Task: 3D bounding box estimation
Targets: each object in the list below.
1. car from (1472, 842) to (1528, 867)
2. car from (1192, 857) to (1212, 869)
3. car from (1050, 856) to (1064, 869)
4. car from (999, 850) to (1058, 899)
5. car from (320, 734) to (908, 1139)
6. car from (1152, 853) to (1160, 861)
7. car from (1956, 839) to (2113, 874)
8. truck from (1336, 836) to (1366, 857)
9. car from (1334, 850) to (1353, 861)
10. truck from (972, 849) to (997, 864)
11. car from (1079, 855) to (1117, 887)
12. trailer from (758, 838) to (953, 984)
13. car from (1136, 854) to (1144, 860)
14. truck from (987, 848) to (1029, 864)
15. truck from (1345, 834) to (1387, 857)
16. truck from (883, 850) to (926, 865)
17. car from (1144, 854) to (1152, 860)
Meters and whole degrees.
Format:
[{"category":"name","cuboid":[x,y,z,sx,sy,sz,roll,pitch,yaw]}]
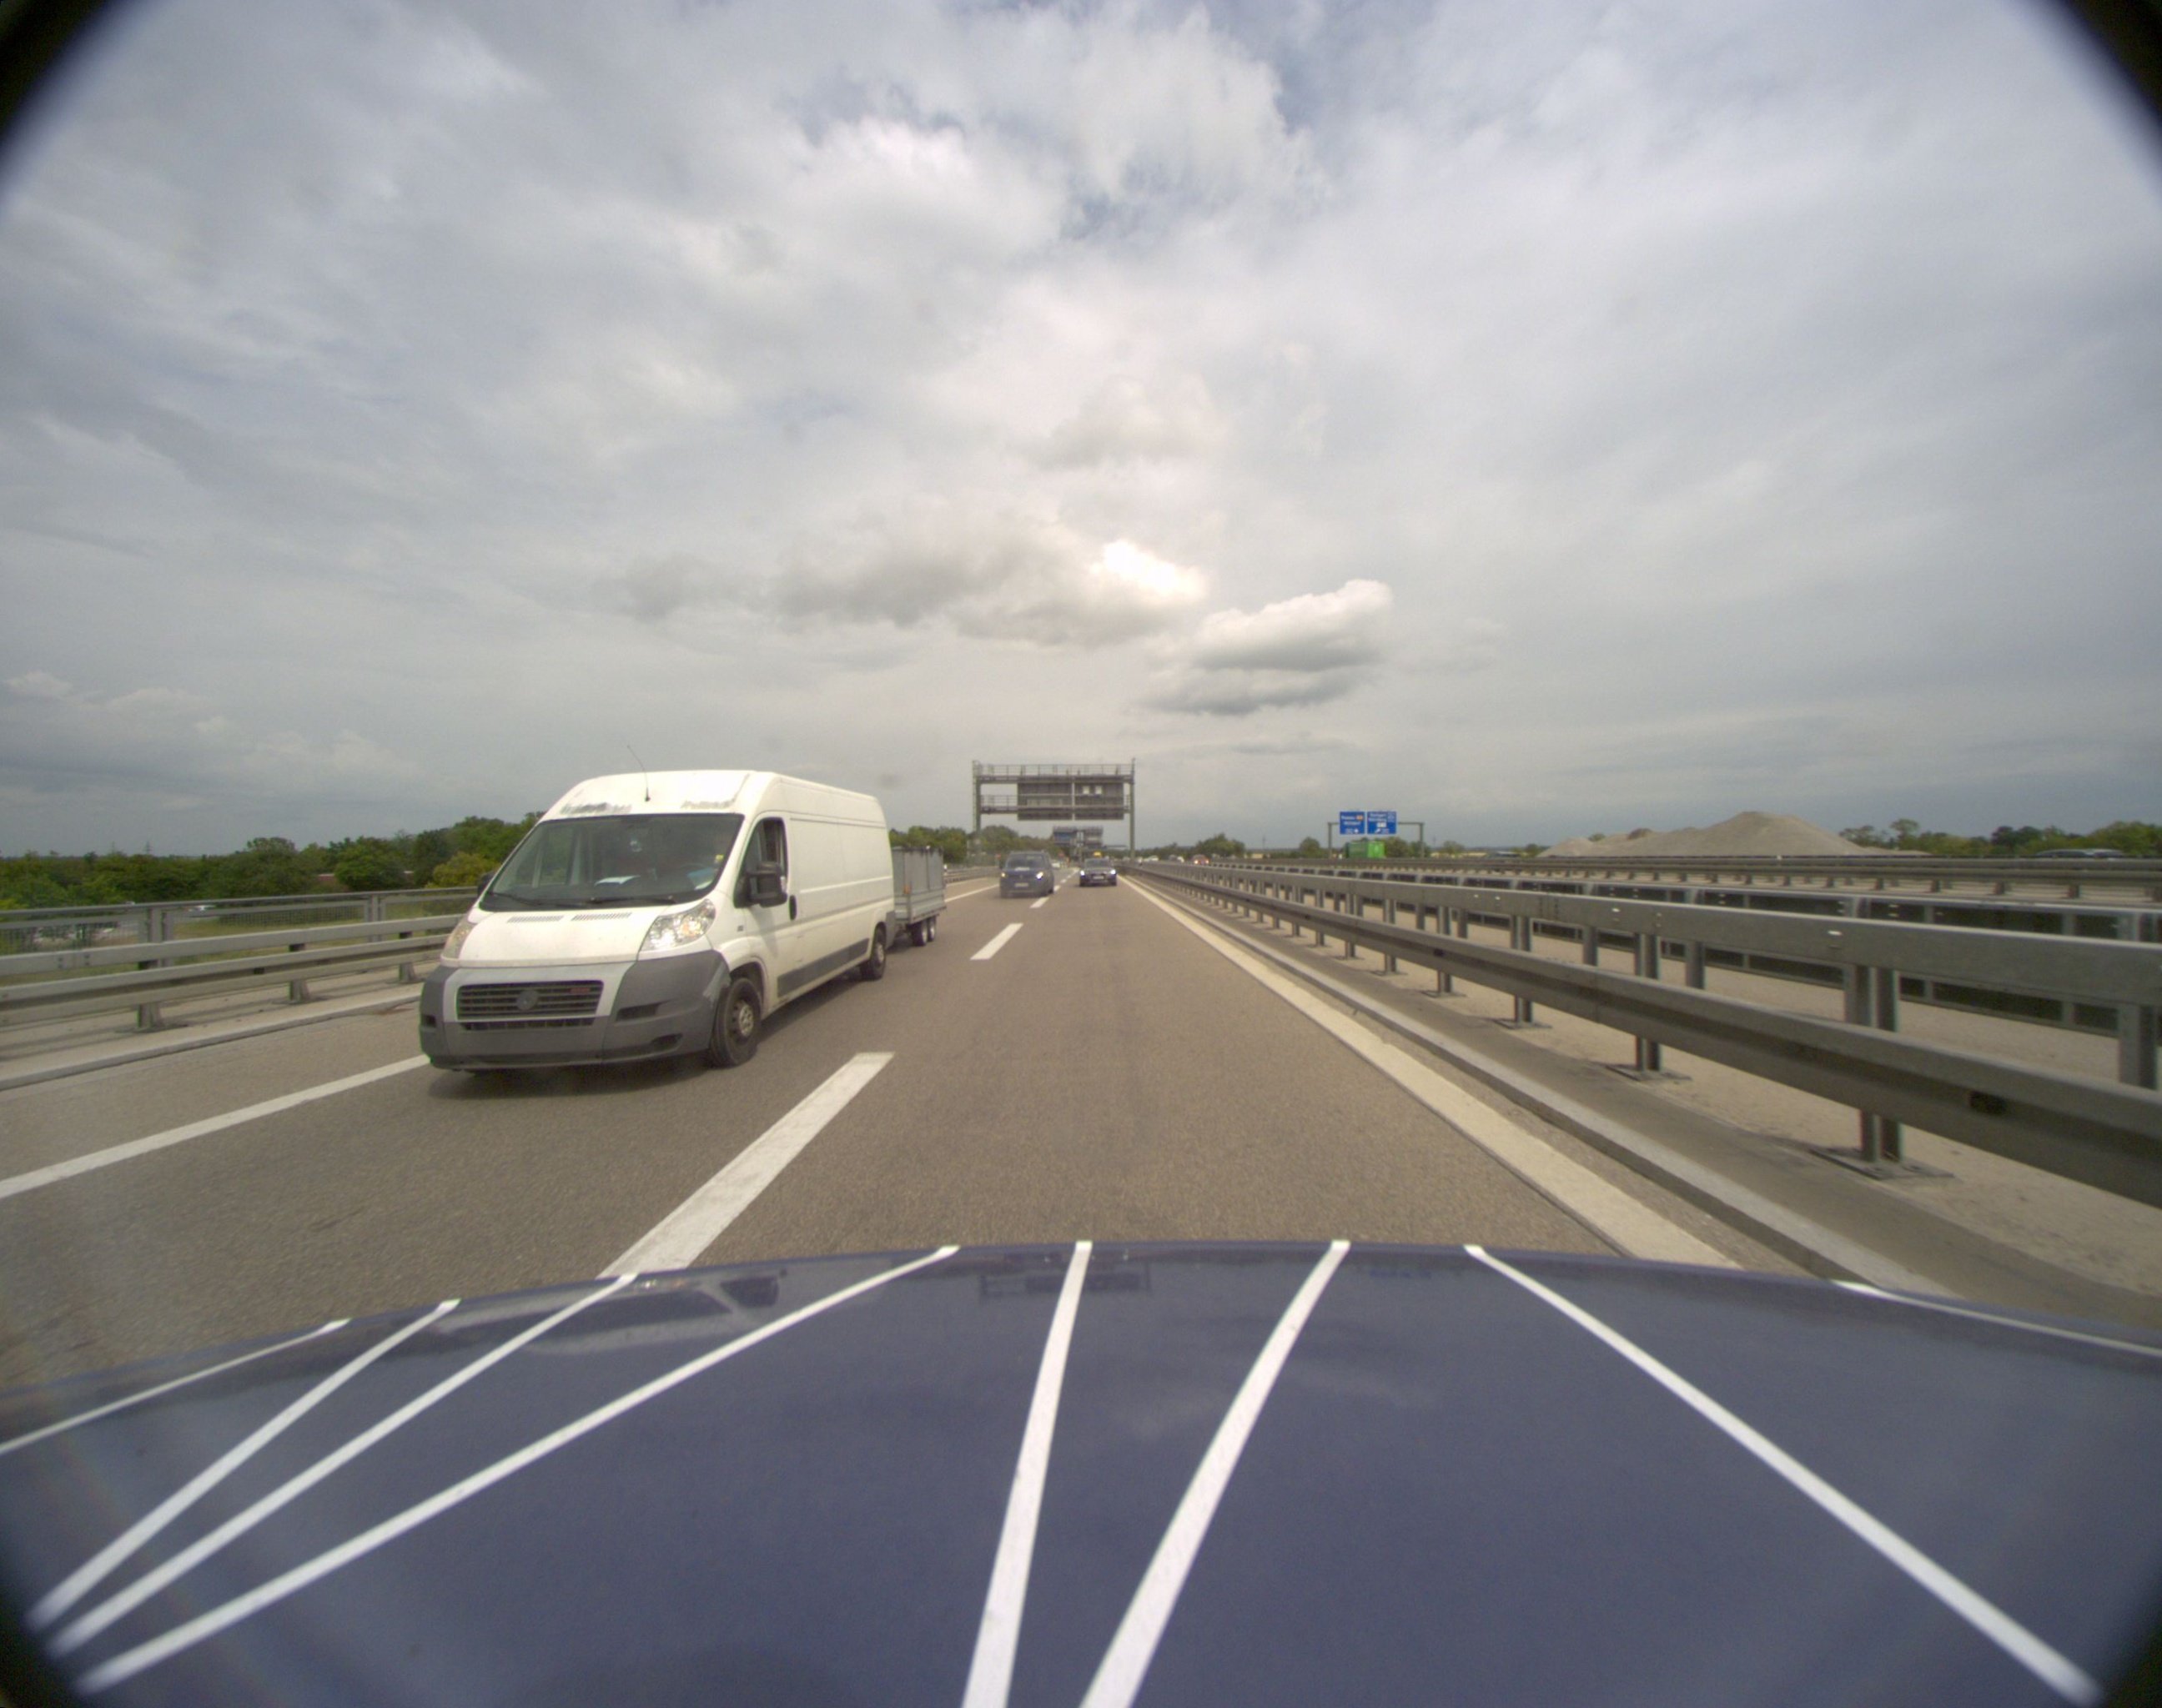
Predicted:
[{"category":"car","cuboid":[31.153,0.049,56.603,1.998,1.778,4.000,-2,0,1]},{"category":"car","cuboid":[15.641,1.131,98.098,1.824,1.537,4.354,-2,0,-1]},{"category":"car","cuboid":[-3.551,1.210,114.005,1.846,1.870,4.289,-2,0,1]},{"category":"car","cuboid":[-2.018,0.783,30.443,1.998,1.783,4.000,-2,0,1]},{"category":"car","cuboid":[-3.598,0.526,7.792,2.119,2.439,6.151,-2,0,0]},{"category":"car","cuboid":[20.953,0.895,212.494,1.998,2.002,4.466,-2,0,1]},{"category":"car","cuboid":[44.968,0.118,36.015,1.998,1.543,4.393,-1,0,2]},{"category":"truck","cuboid":[46.901,-1.281,131.961,3.049,3.588,5.894,-2,0,0]},{"category":"car","cuboid":[54.112,0.356,156.737,2.201,2.210,5.517,-2,0,1]},{"category":"truck","cuboid":[-25.391,0.690,200.081,5.940,3.780,2.894,-2,-1,-43]},{"category":"car","cuboid":[0.844,0.823,37.608,1.747,1.380,3.999,-2,1,1]},{"category":"trailer","cuboid":[-3.573,0.816,13.051,1.859,2.002,4.632,-2,0,1]},{"category":"car","cuboid":[17.469,0.892,226.111,1.999,1.739,3.999,-2,0,-1]},{"category":"truck","cuboid":[-19.732,0.565,205.348,11.815,3.835,2.839,-2,0,-43]},{"category":"truck","cuboid":[46.822,-1.302,125.362,3.020,3.613,10.437,-2,0,0]},{"category":"truck","cuboid":[-44.034,0.910,189.718,9.887,3.383,2.690,-2,0,-23]},{"category":"car","cuboid":[21.245,0.859,241.470,1.999,1.870,3.999,-2,0,-1]}]
